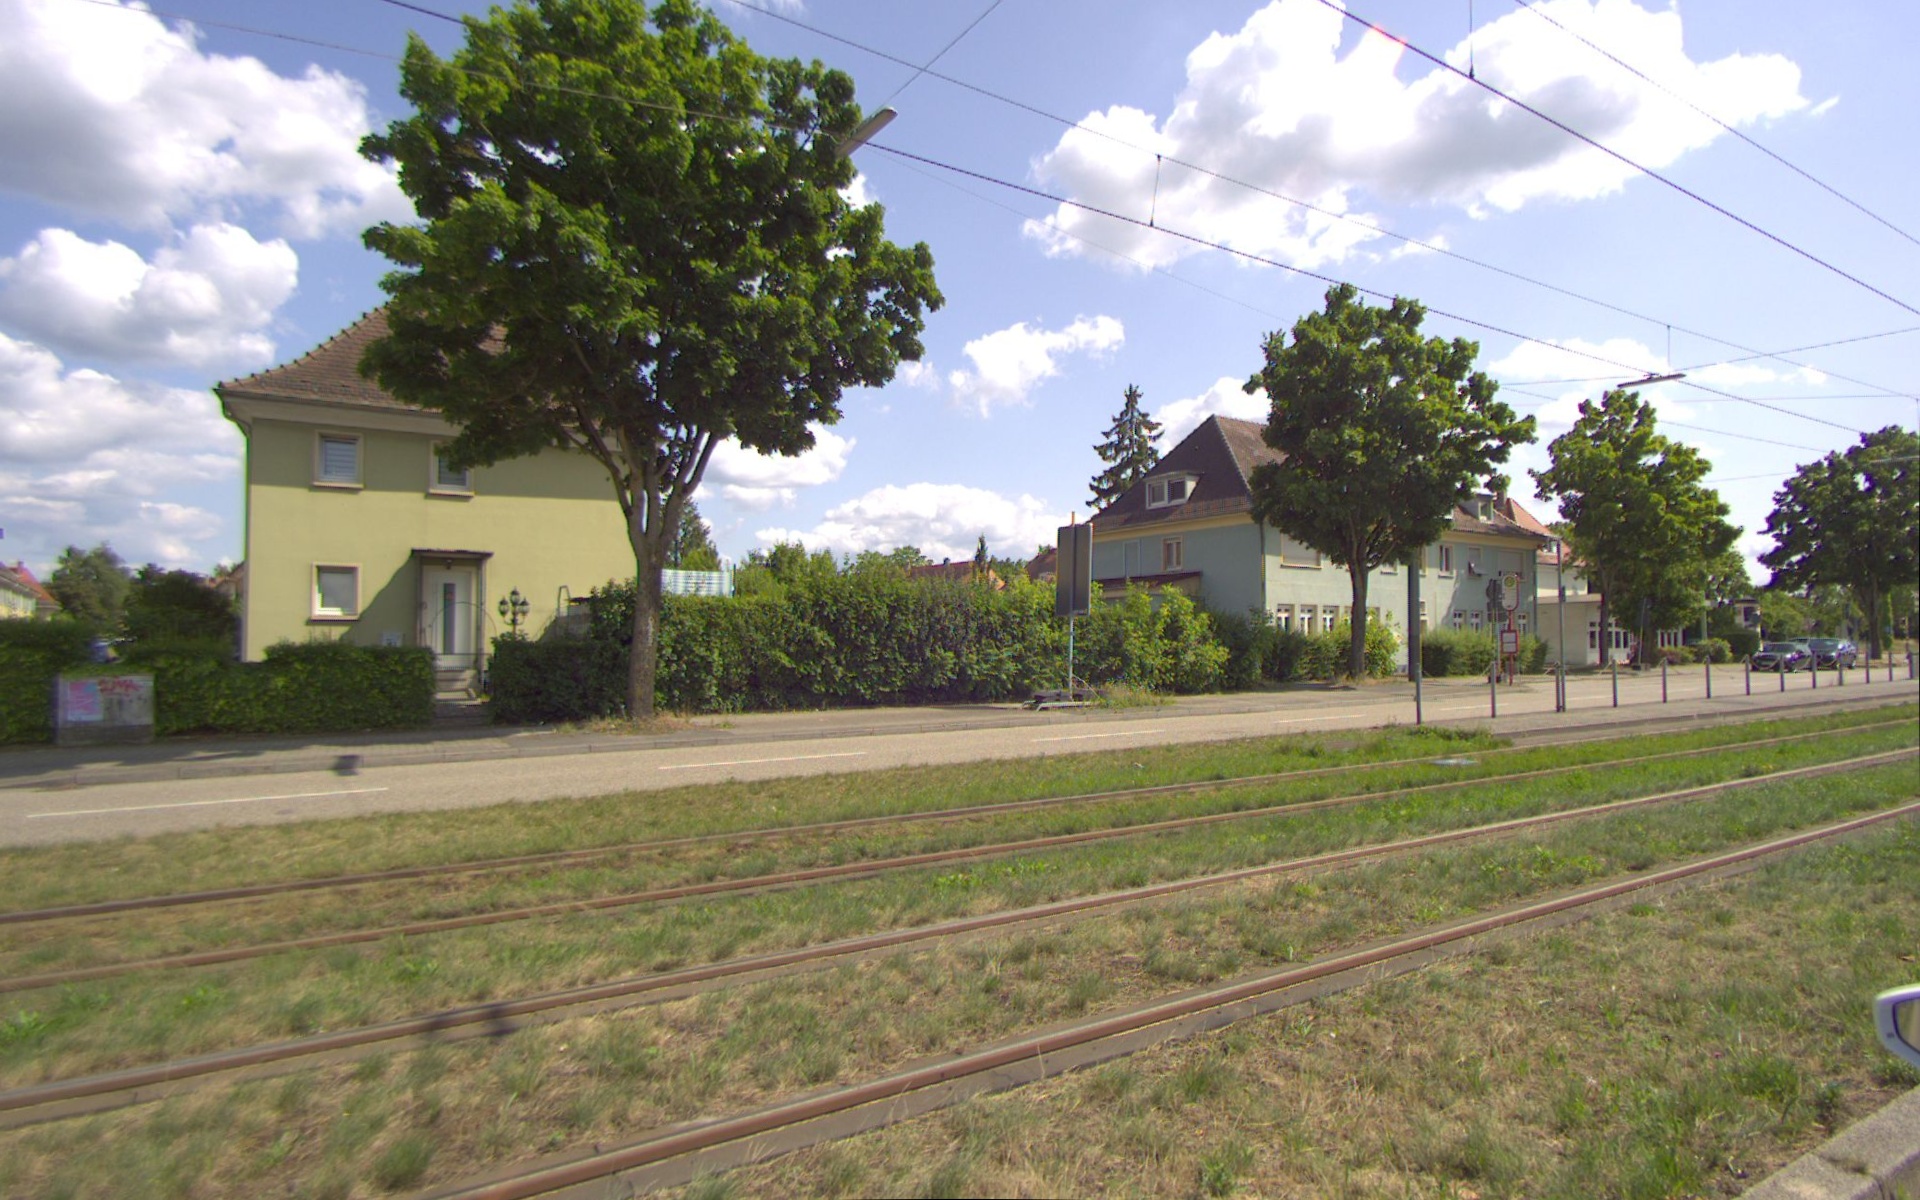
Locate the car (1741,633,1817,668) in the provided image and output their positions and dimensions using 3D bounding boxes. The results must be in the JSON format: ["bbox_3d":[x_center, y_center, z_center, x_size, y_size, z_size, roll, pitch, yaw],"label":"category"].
[{"bbox_3d":[40.276,2.458,49.387,3.887,1.605,1.777,1,-2,-32],"label":"car"}]

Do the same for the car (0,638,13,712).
[{"bbox_3d":[-19.404,1.445,18.666,1.873,1.487,3.722,1,-2,-32],"label":"car"}]

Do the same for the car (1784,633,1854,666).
[{"bbox_3d":[45.314,2.586,52.954,4.714,1.635,2.043,2,-2,-40],"label":"car"}]
